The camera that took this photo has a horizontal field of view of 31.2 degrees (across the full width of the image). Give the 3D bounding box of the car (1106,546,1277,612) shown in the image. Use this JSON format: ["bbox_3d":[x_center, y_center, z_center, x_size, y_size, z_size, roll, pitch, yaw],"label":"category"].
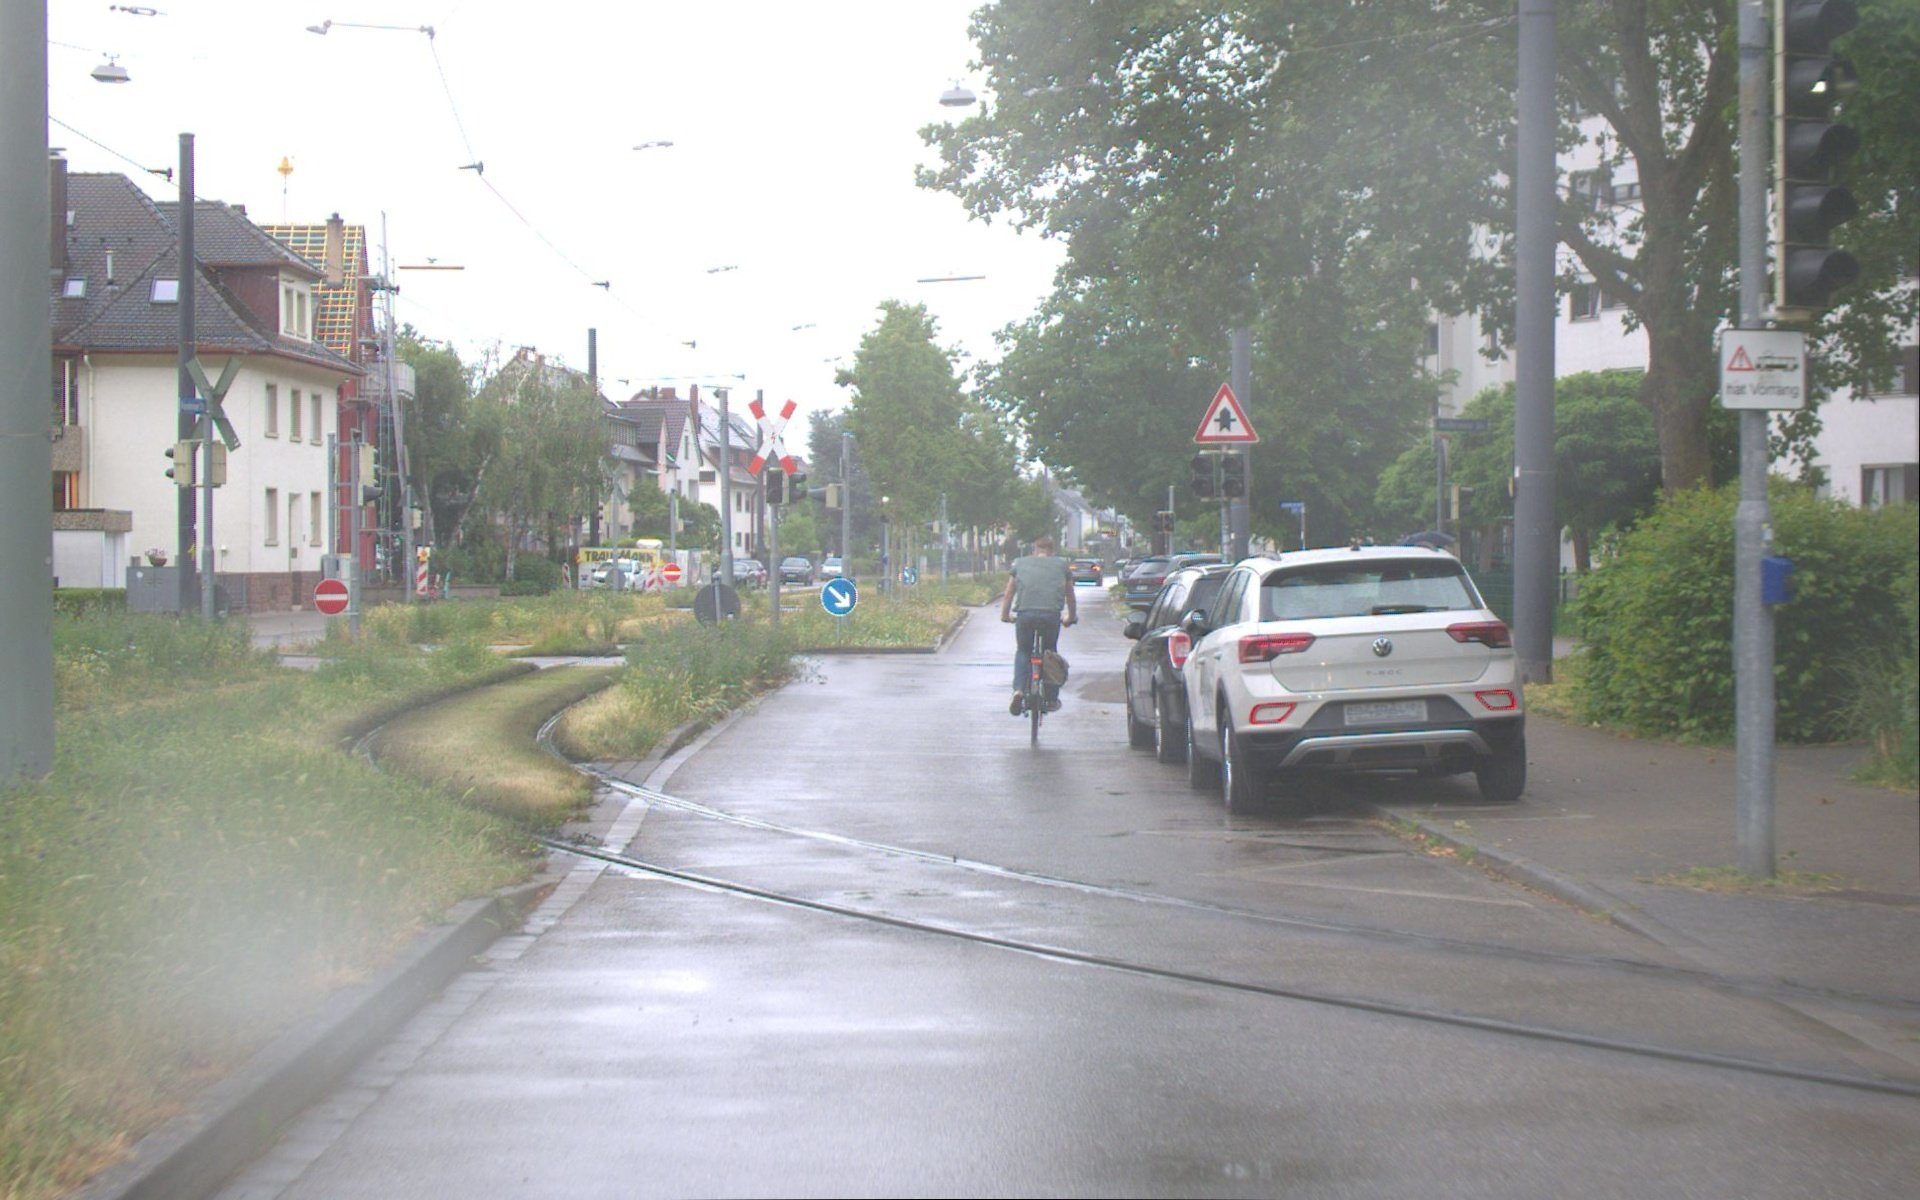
[{"bbox_3d":[6.021,-0.564,89.186,4.337,1.645,1.857,-1,1,-39],"label":"car"}]

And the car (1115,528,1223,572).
[{"bbox_3d":[8.994,-2.156,147.928,4.134,1.713,2.000,-4,2,-29],"label":"car"}]

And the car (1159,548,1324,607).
[{"bbox_3d":[7.049,-0.576,85.927,3.988,1.424,1.734,-1,1,-39],"label":"car"}]

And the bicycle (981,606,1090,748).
[{"bbox_3d":[0.613,0.618,28.764,0.809,1.093,2.517,-1,1,-1],"label":"bicycle"}]

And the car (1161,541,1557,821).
[{"bbox_3d":[2.394,0.431,21.655,1.899,1.569,4.112,-1,1,-1],"label":"car"}]

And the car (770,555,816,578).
[{"bbox_3d":[-9.457,-1.900,194.783,1.897,1.240,4.686,2,1,6],"label":"car"}]

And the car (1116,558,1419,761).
[{"bbox_3d":[2.338,0.411,27.160,1.899,1.444,4.184,-1,1,-1],"label":"car"}]

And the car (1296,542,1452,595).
[{"bbox_3d":[13.823,-1.054,114.922,4.801,1.739,2.001,0,1,-12],"label":"car"}]

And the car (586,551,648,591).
[{"bbox_3d":[-13.872,-1.196,139.229,1.710,1.537,4.421,2,1,4],"label":"car"}]

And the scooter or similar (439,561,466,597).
[{"bbox_3d":[-16.798,-0.690,113.826,0.394,1.176,1.282,0,1,17],"label":"scooter or similar"}]

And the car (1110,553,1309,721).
[{"bbox_3d":[2.363,0.310,33.401,1.558,1.514,4.000,-1,1,-1],"label":"car"}]

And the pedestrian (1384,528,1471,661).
[{"bbox_3d":[6.472,-0.083,47.562,1.100,1.807,1.433,0,1,12],"label":"pedestrian"}]

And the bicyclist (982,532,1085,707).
[{"bbox_3d":[0.605,0.156,28.754,0.809,1.428,1.060,-1,1,-1],"label":"bicyclist"}]

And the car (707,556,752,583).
[{"bbox_3d":[-11.291,-1.488,168.880,1.663,1.240,4.071,2,1,3],"label":"car"}]
